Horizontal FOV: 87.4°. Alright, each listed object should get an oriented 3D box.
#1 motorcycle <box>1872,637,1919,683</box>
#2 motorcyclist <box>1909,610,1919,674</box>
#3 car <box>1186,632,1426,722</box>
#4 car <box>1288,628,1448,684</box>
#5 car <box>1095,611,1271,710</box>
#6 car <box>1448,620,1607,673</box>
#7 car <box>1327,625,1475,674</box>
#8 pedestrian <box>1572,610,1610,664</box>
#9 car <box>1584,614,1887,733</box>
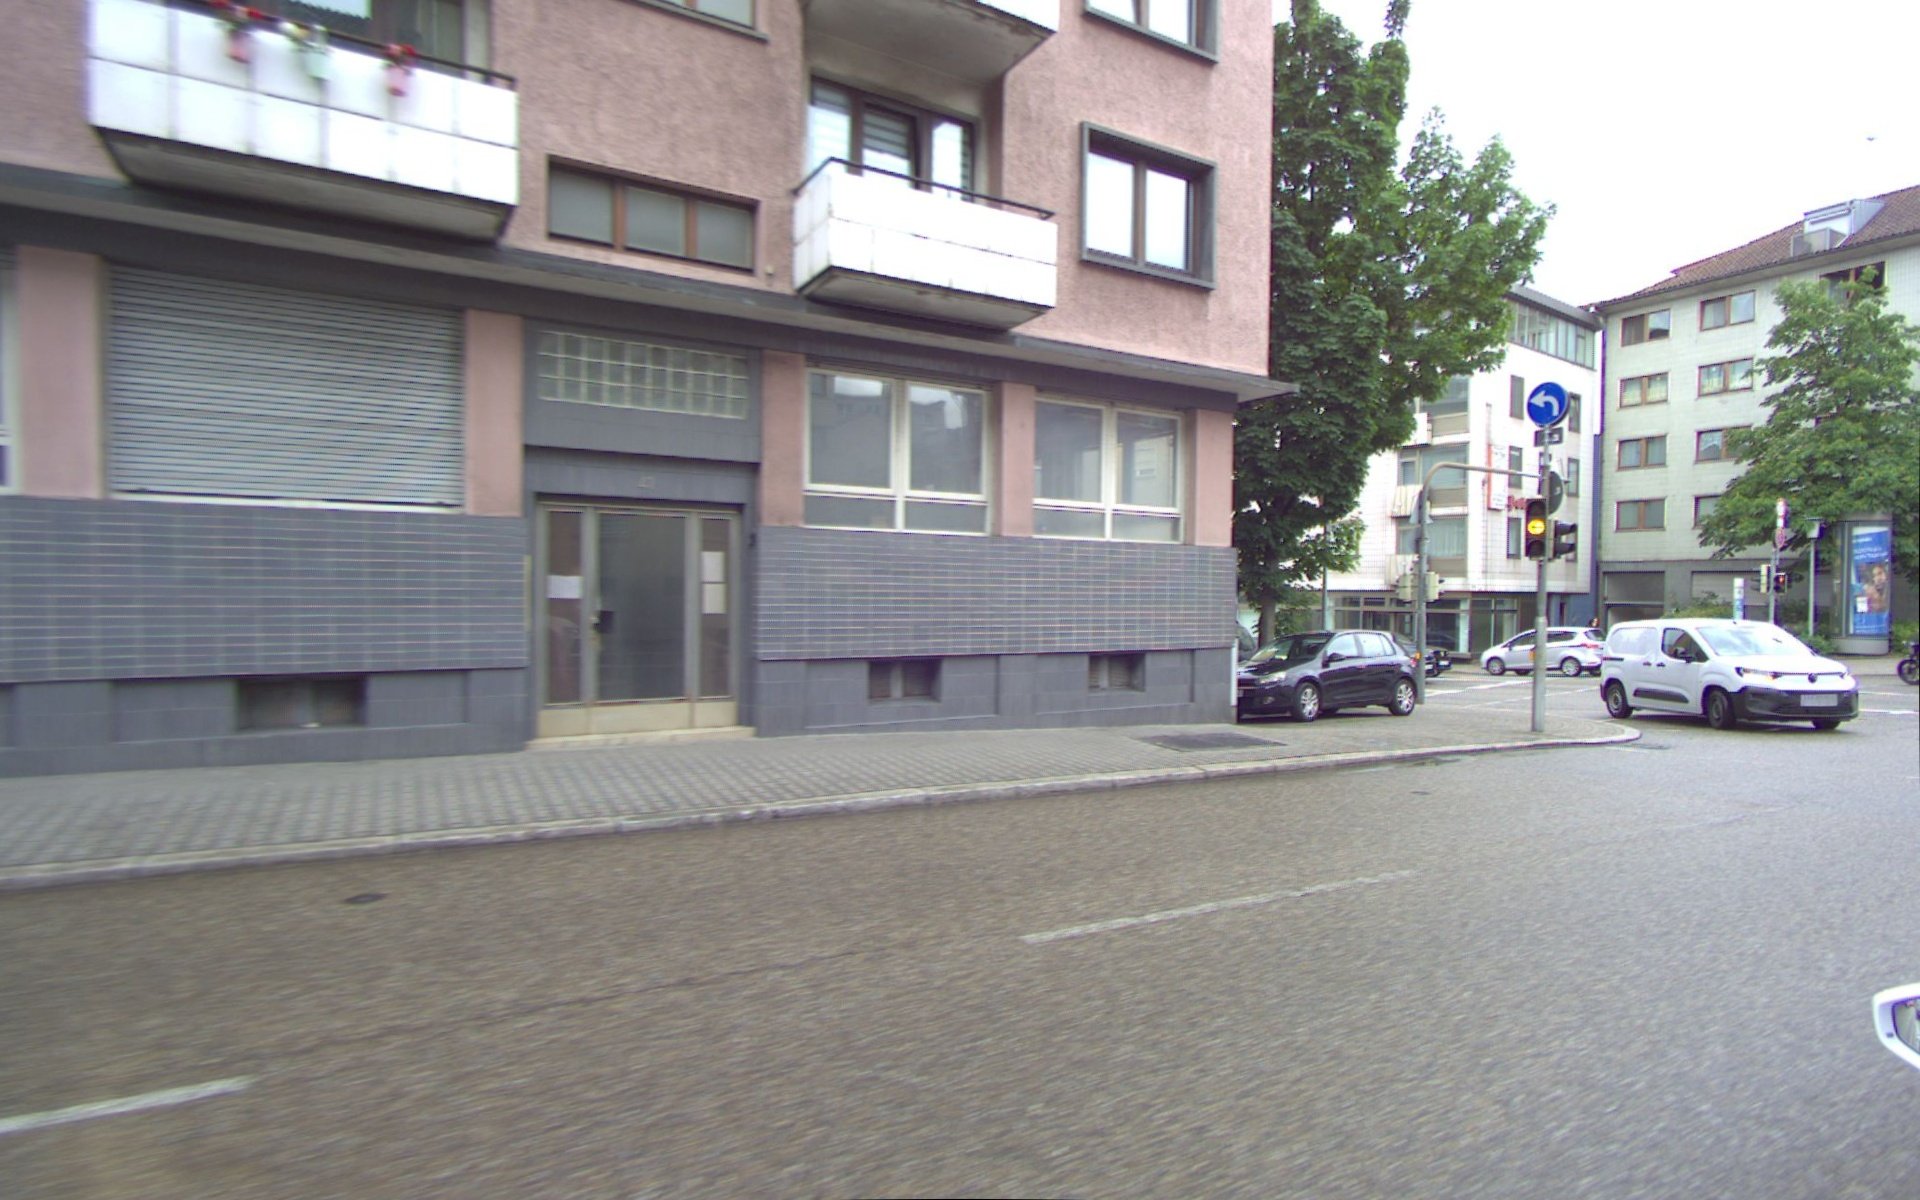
[{"bbox_3d":[22.541,1.401,23.167,0.848,1.019,2.250,1,-1,-4],"label":"motorcycle"},{"bbox_3d":[22.569,0.972,23.053,0.890,1.472,0.746,1,0,-5],"label":"motorcyclist"},{"bbox_3d":[5.906,1.261,17.057,3.953,1.377,1.724,2,-3,-31],"label":"car"},{"bbox_3d":[12.388,1.651,30.758,1.805,1.497,4.341,0,-1,-32],"label":"car"},{"bbox_3d":[4.540,1.196,19.991,1.746,1.750,4.330,-4,-5,37],"label":"car"},{"bbox_3d":[18.979,1.517,33.738,2.006,1.621,4.222,1,-1,-34],"label":"car"},{"bbox_3d":[14.926,1.716,34.251,1.805,1.557,4.343,0,-3,-32],"label":"car"},{"bbox_3d":[22.599,1.310,35.968,0.740,1.842,0.917,-2,1,0],"label":"pedestrian"},{"bbox_3d":[12.917,1.183,17.185,1.776,1.737,4.549,-1,-2,2],"label":"car"}]
